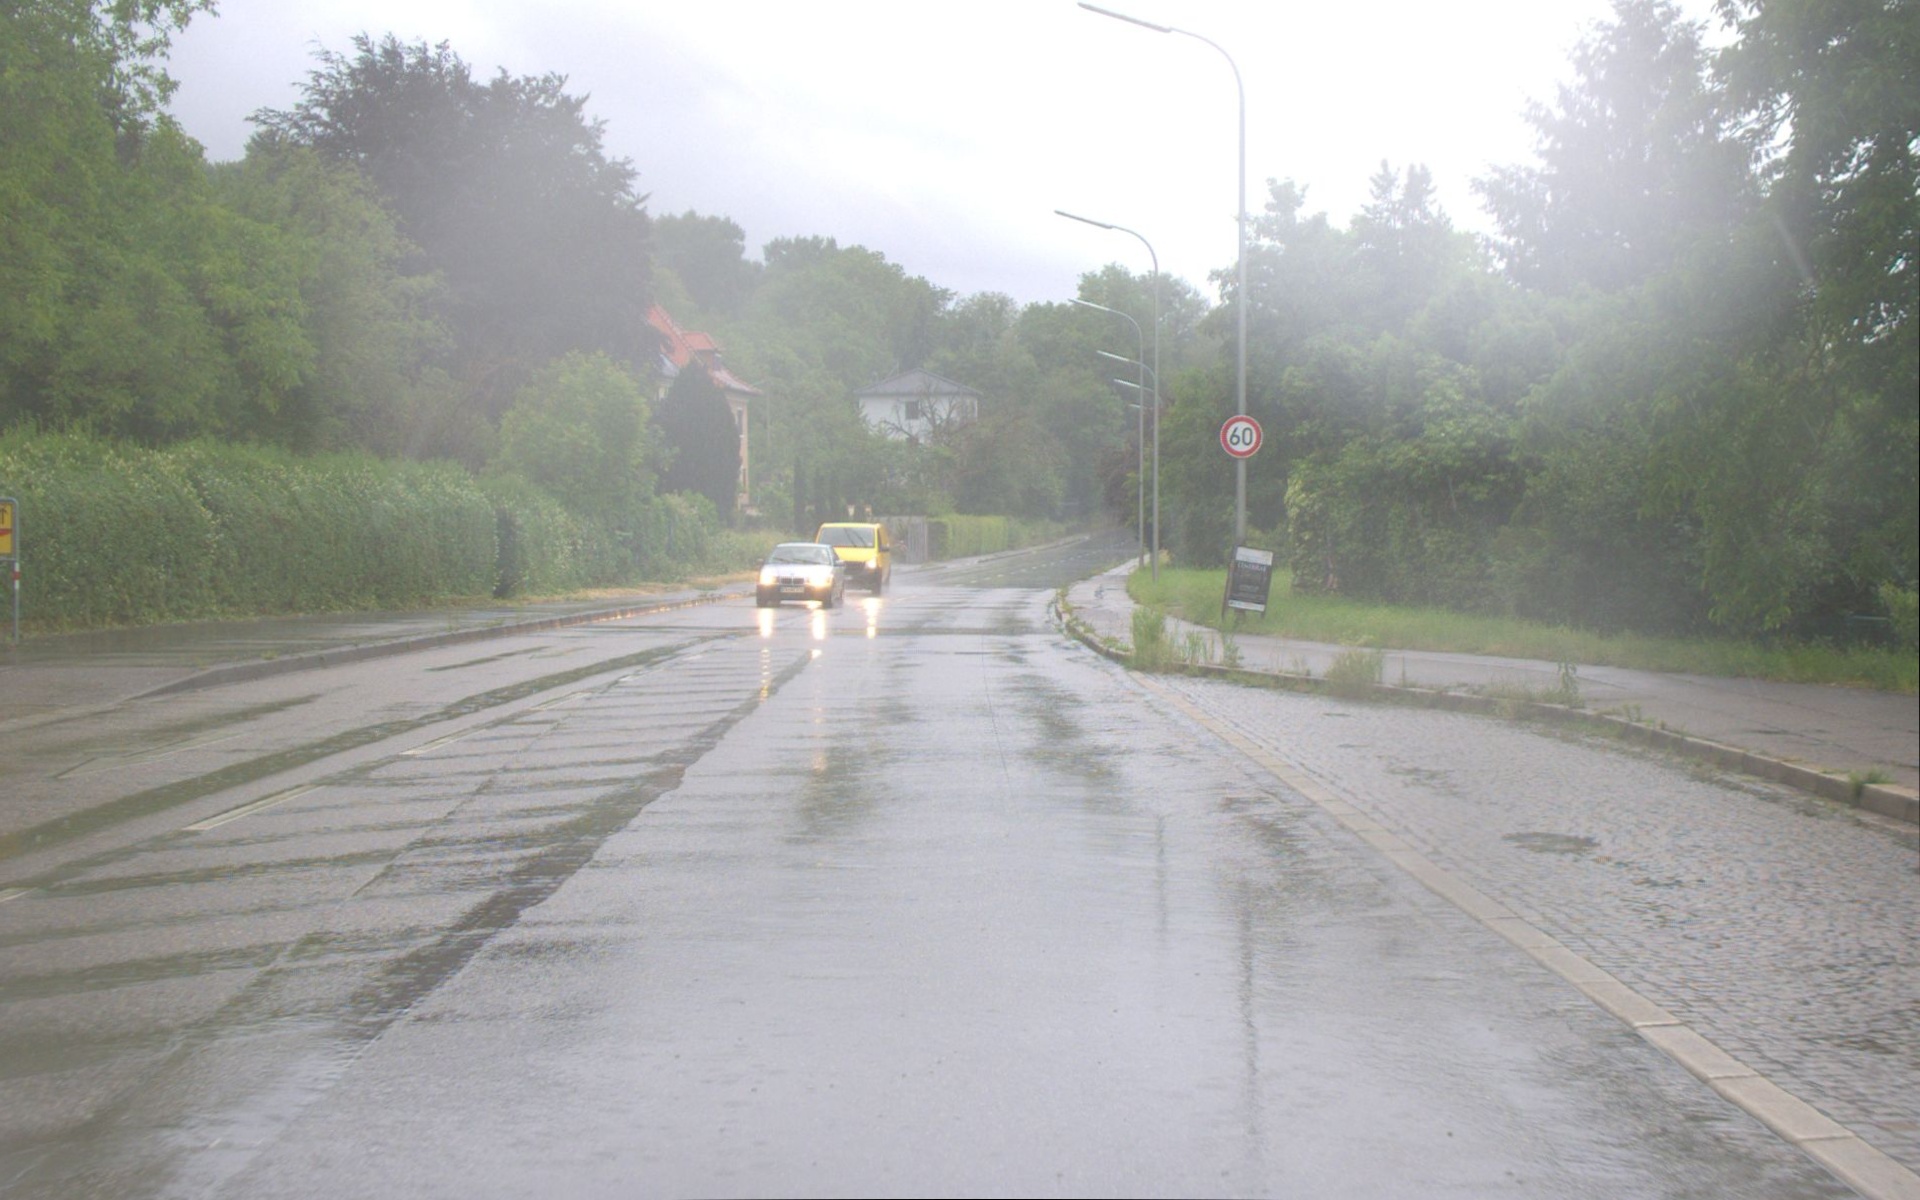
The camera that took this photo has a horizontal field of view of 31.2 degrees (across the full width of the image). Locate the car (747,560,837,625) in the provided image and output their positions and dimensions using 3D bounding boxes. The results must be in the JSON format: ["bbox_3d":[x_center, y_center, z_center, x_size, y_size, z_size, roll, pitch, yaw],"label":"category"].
[{"bbox_3d":[-3.634,-0.178,74.838,1.701,1.345,3.905,1,1,1],"label":"car"}]

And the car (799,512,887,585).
[{"bbox_3d":[-3.086,-1.372,91.440,1.937,1.865,5.036,1,1,2],"label":"car"}]
